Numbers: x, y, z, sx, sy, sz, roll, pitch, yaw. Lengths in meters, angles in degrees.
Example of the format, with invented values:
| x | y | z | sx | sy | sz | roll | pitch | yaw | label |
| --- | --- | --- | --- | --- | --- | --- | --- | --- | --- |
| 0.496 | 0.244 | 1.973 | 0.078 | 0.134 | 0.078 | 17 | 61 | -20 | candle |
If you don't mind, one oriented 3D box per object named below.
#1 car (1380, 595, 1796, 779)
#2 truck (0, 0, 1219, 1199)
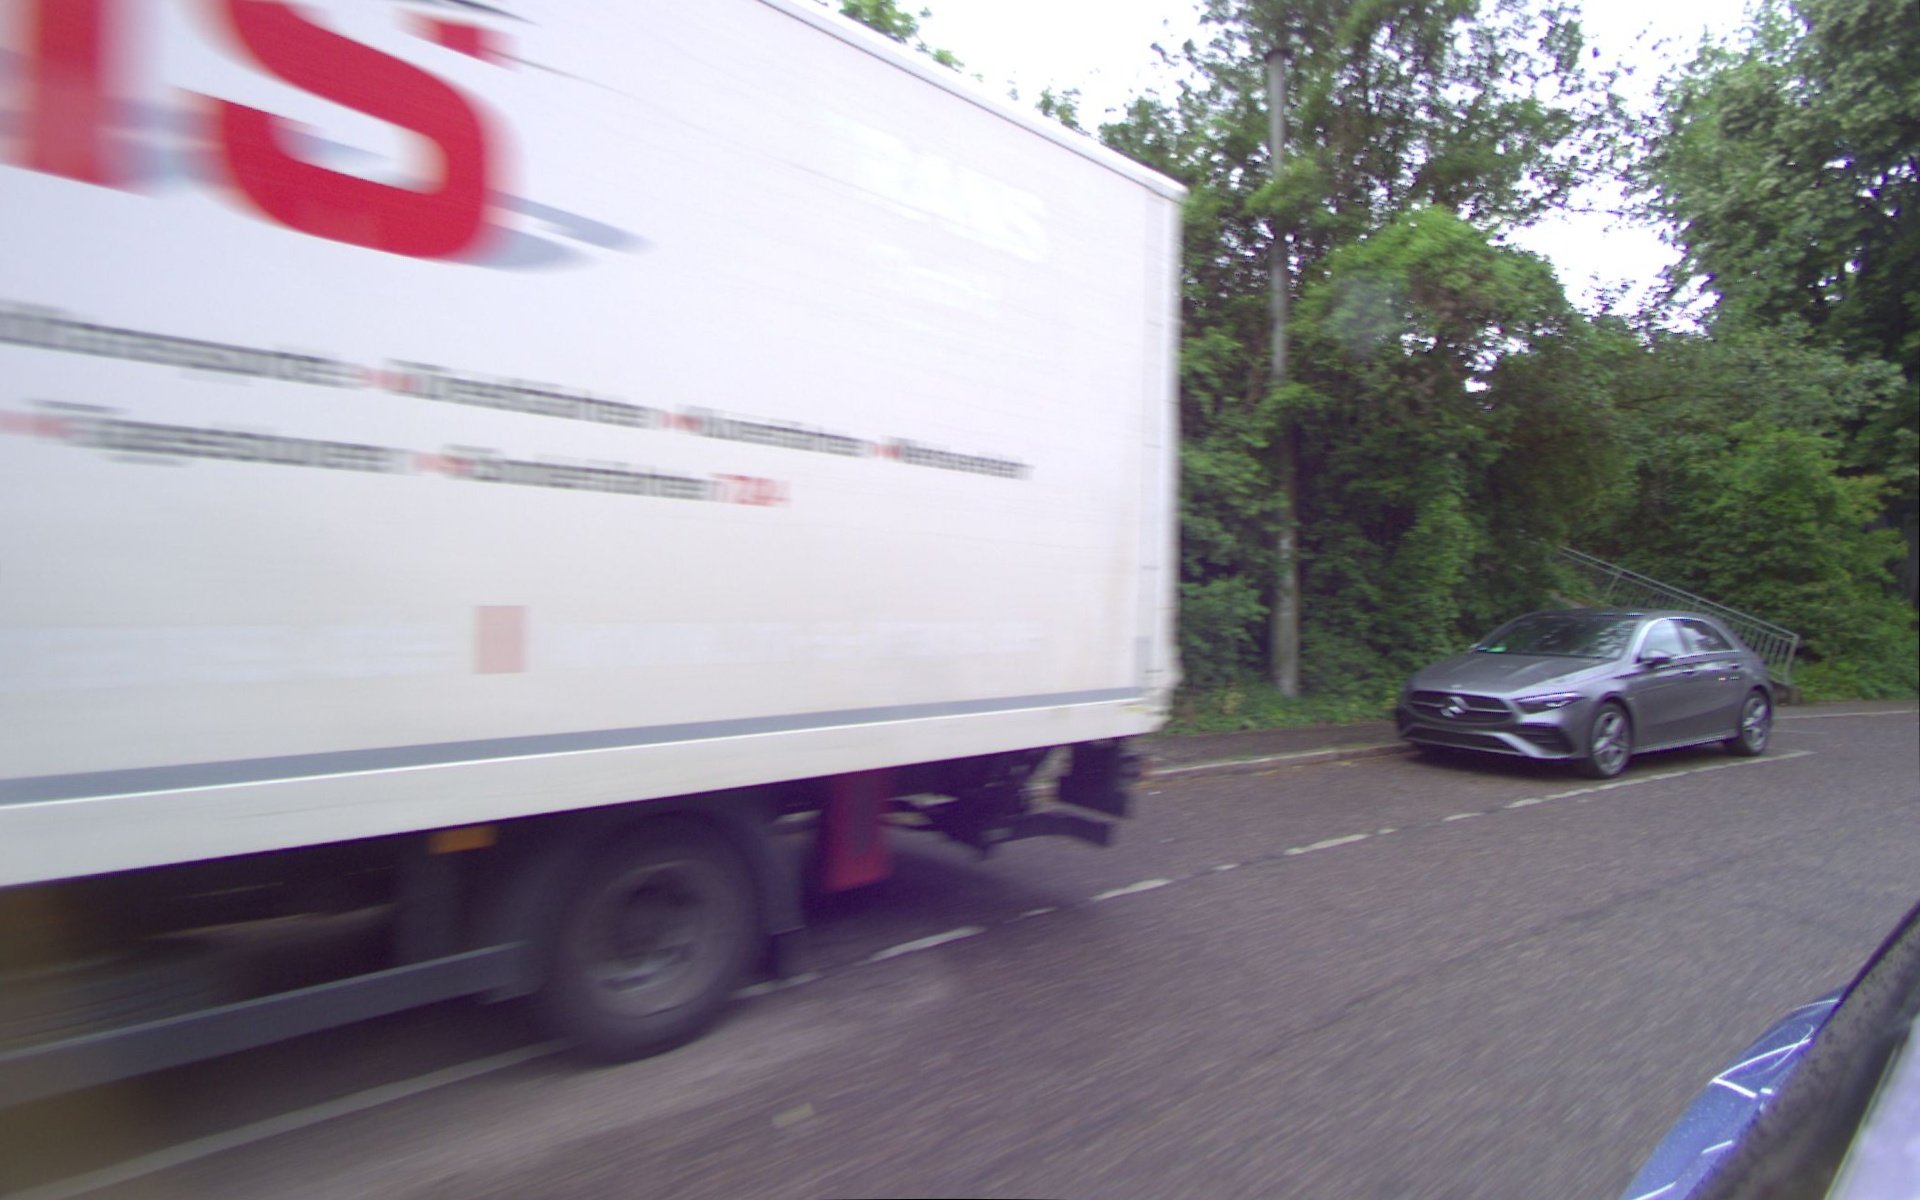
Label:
| x | y | z | sx | sy | sz | roll | pitch | yaw | label |
| --- | --- | --- | --- | --- | --- | --- | --- | --- | --- |
| 6.142 | 0.704 | 9.812 | 4.042 | 1.462 | 1.727 | 0 | -1 | -30 | car |
| -2.801 | -0.464 | 3.057 | 8.196 | 3.619 | 3.010 | 0 | 1 | -43 | truck |
